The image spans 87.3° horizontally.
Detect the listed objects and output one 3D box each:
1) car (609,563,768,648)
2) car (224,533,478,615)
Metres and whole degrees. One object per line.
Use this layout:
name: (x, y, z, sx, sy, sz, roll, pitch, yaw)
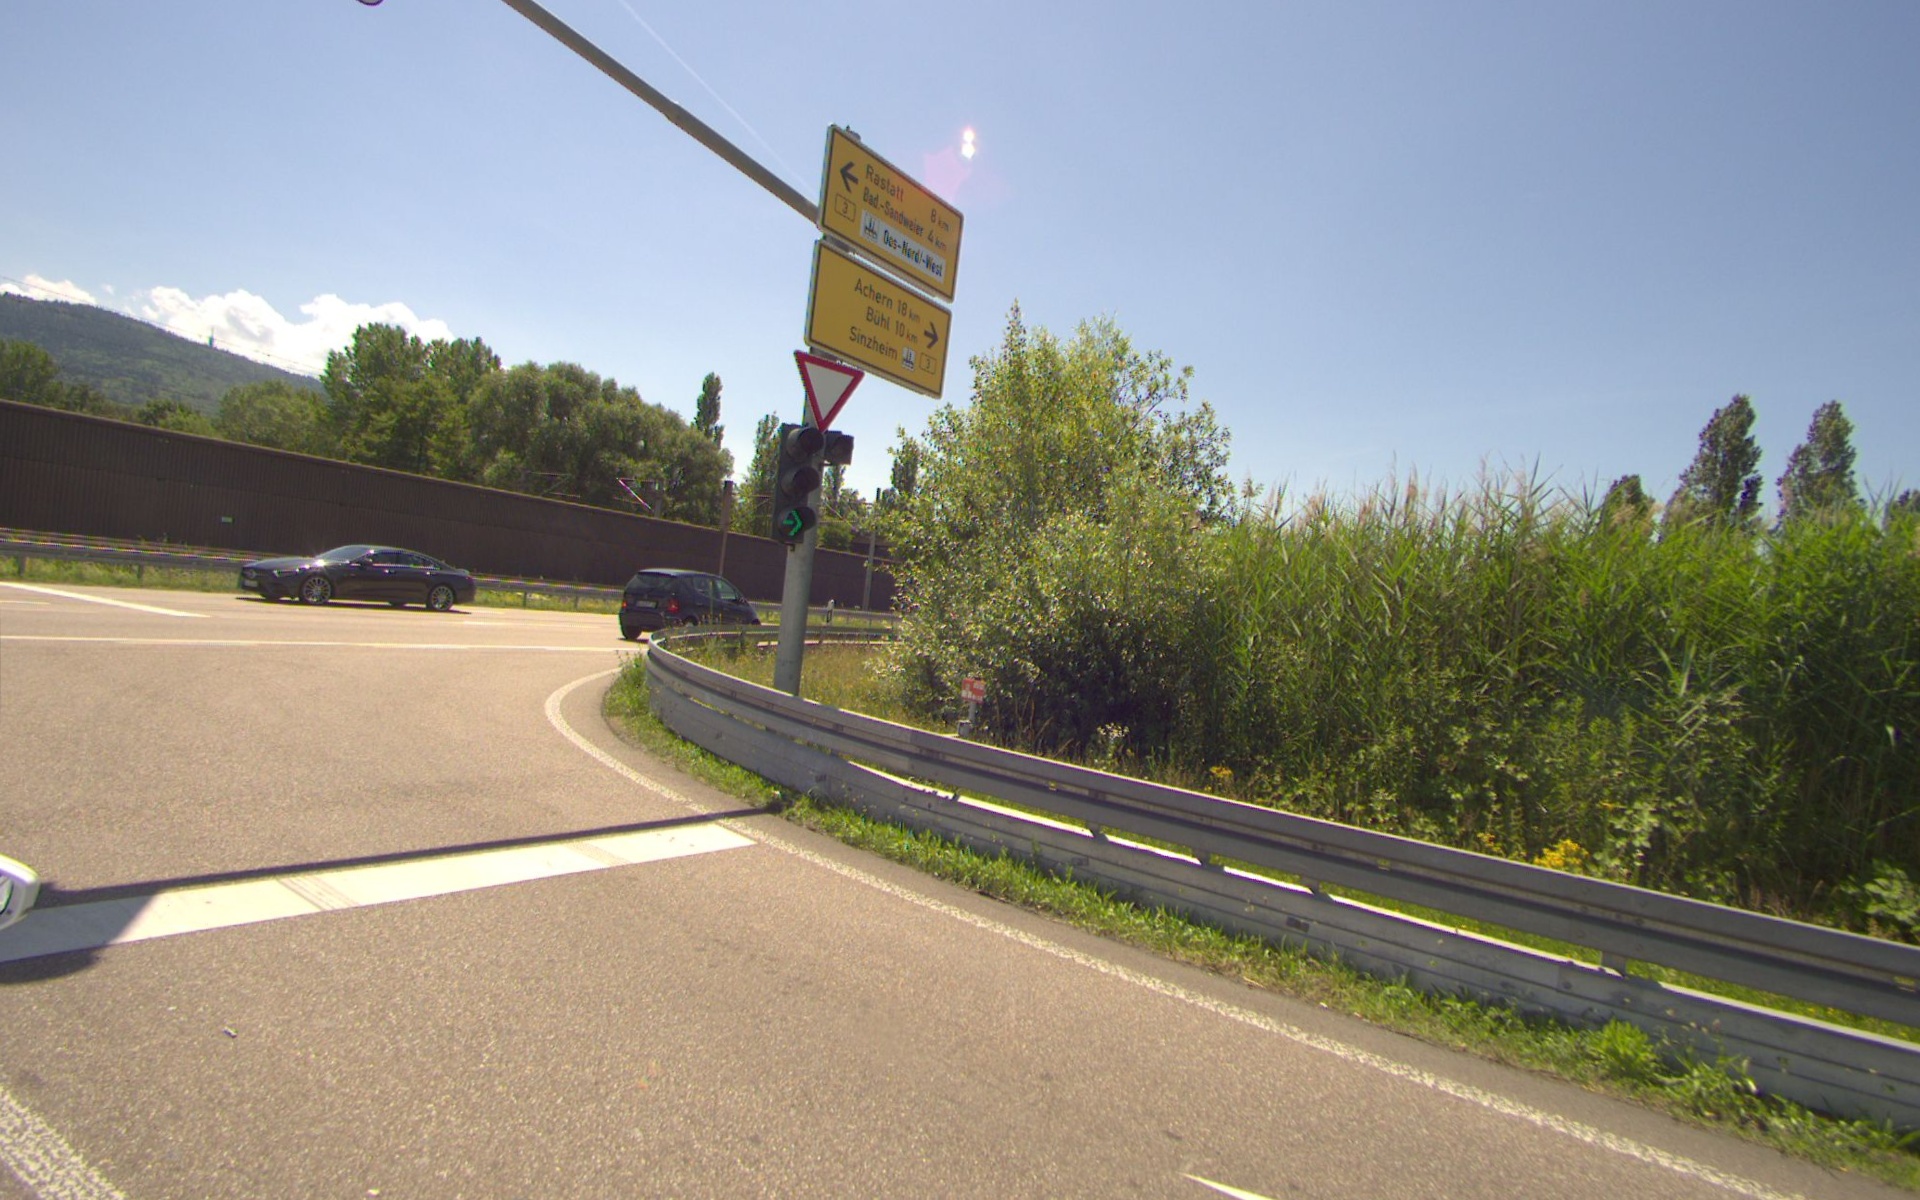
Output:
car: (-6.077, 0.191, 22.903, 1.613, 1.616, 3.561, 6, 0, 20)
car: (-13.857, -0.539, 23.230, 1.880, 1.381, 4.641, 5, -1, 28)
